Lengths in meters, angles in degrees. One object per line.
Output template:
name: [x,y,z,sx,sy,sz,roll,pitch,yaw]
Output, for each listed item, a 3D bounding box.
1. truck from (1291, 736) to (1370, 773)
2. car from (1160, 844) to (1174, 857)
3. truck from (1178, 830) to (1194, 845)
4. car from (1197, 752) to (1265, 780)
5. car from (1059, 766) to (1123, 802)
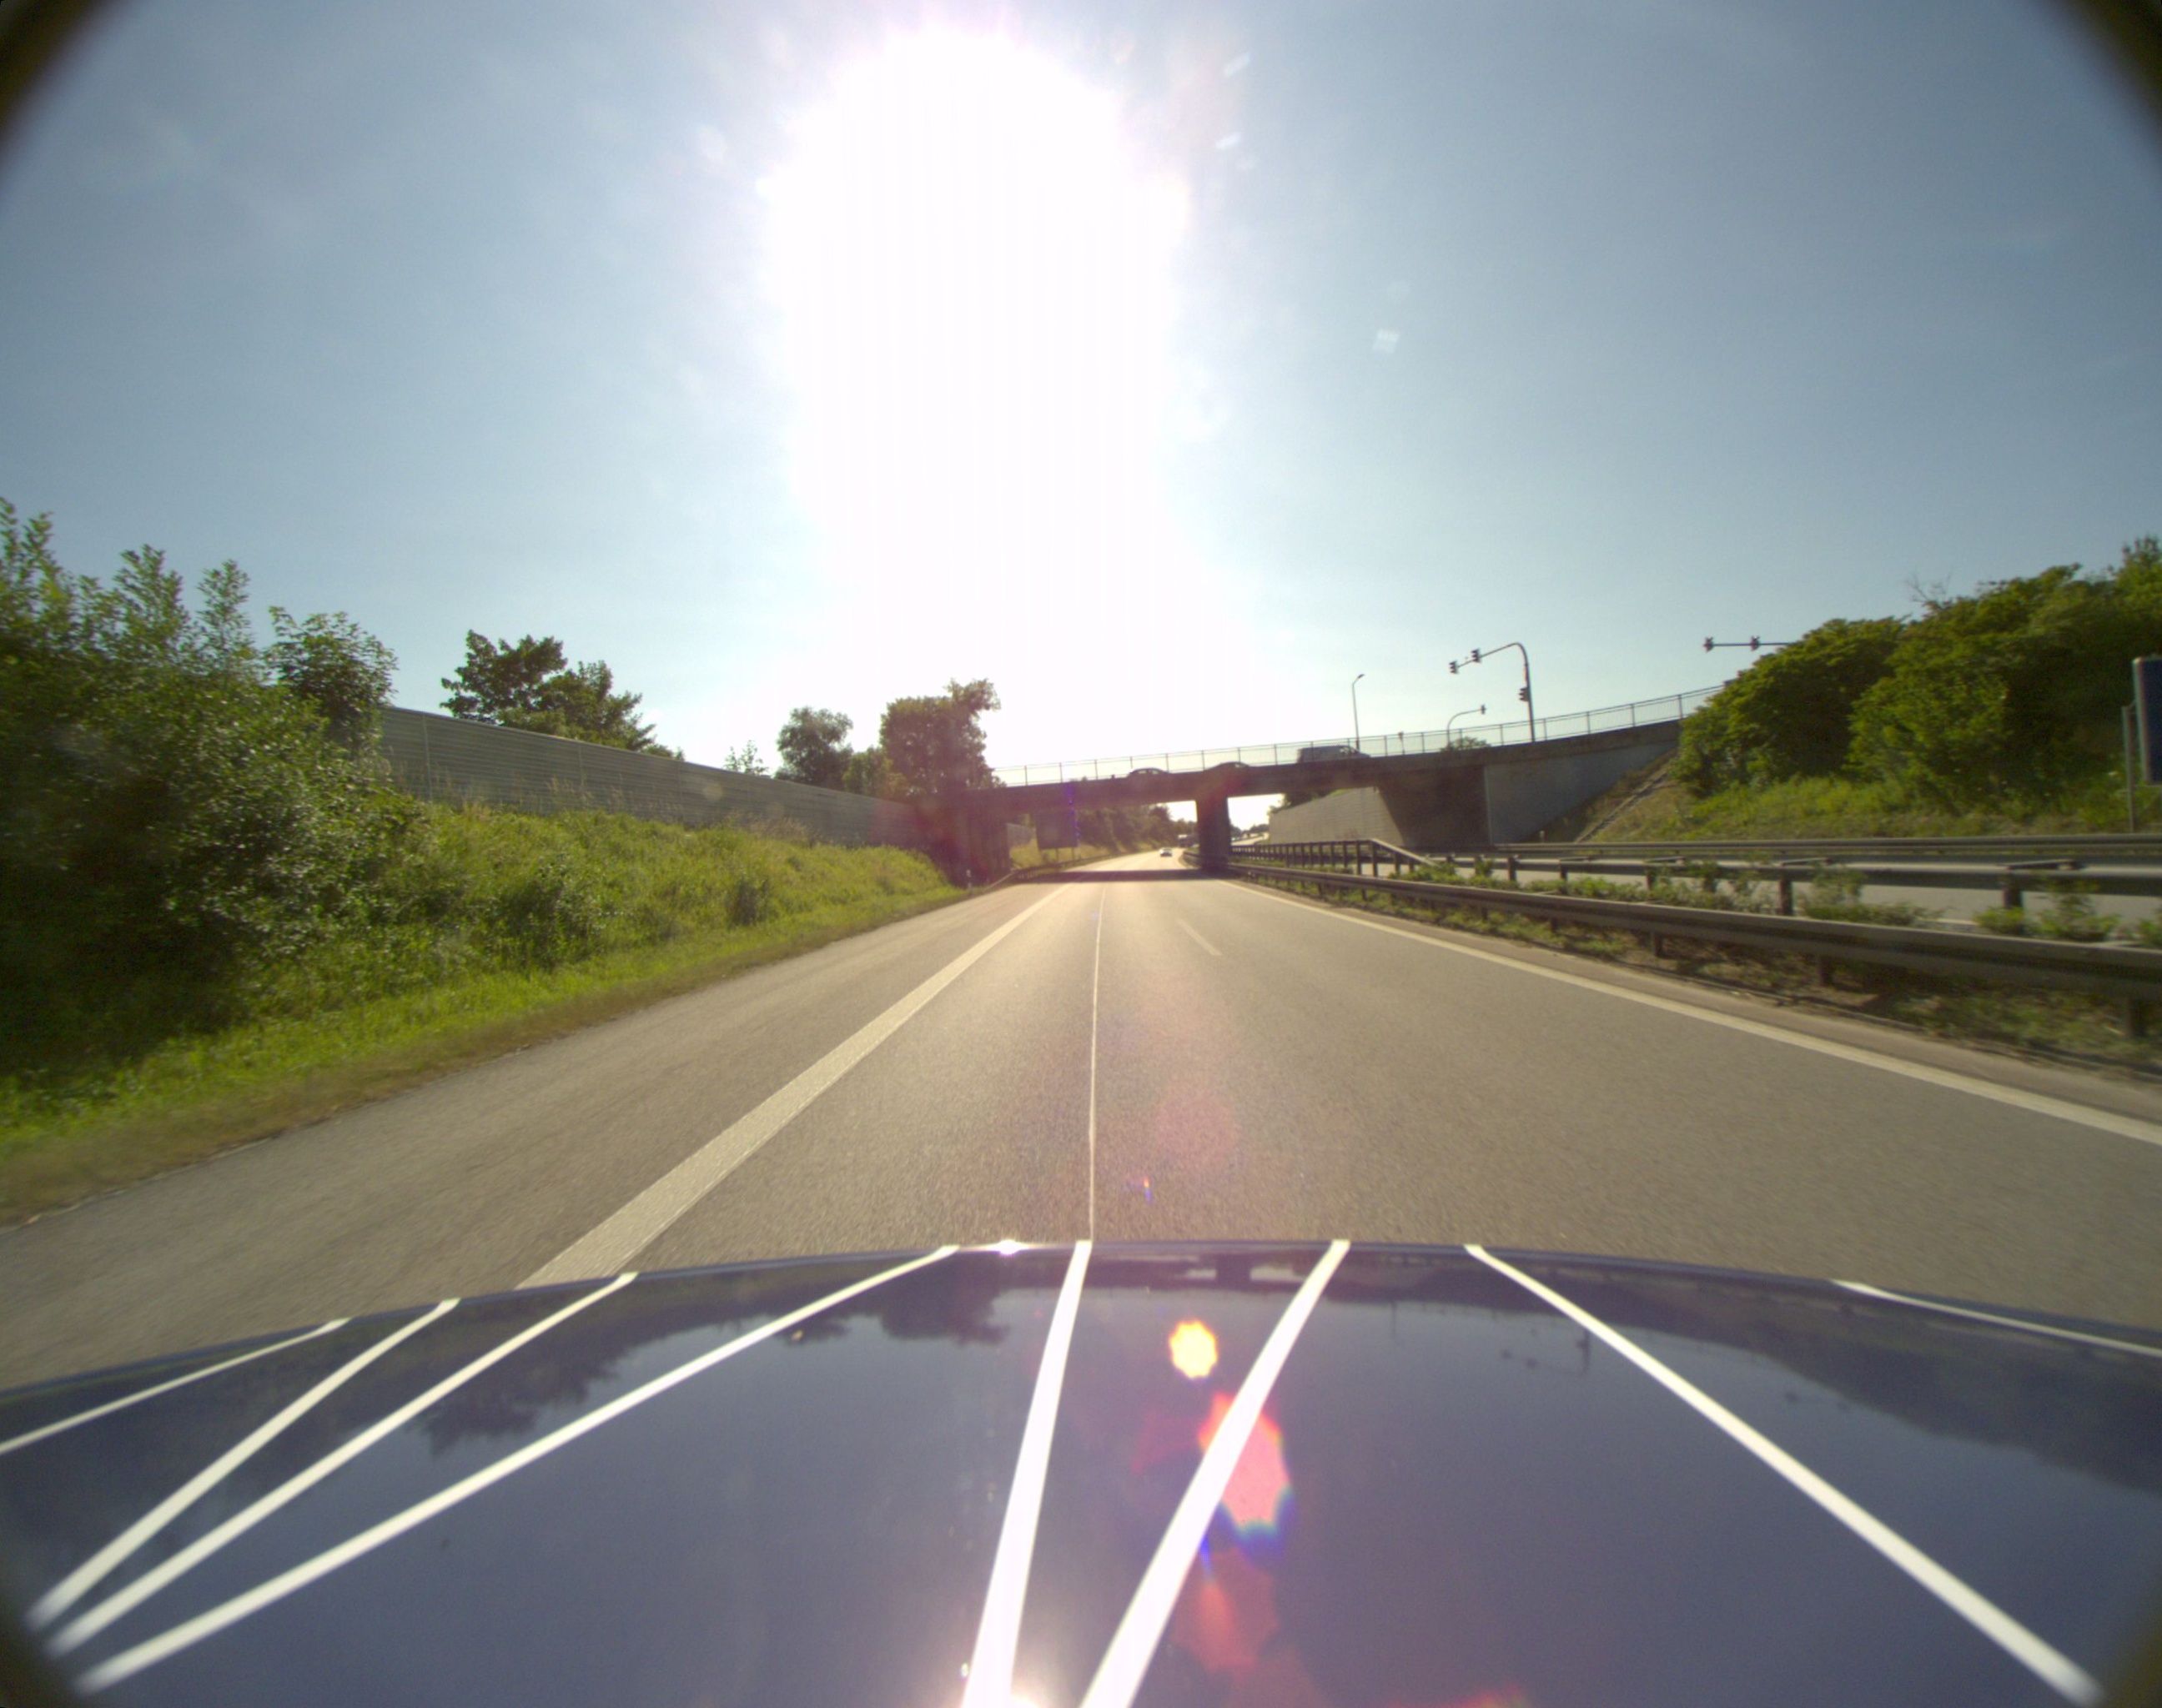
truck: [17.389,-6.927,53.160,4.866,2.155,2.000,-2,2,5]
car: [13.696,-0.517,120.660,1.997,2.002,4.601,-2,0,7]
truck: [30.298,-4.811,218.165,3.431,4.188,12.094,-2,1,12]
car: [10.536,-6.197,53.653,4.438,1.547,1.906,-3,2,4]
car: [0.672,-4.588,50.018,3.995,2.088,1.740,-2,2,6]
